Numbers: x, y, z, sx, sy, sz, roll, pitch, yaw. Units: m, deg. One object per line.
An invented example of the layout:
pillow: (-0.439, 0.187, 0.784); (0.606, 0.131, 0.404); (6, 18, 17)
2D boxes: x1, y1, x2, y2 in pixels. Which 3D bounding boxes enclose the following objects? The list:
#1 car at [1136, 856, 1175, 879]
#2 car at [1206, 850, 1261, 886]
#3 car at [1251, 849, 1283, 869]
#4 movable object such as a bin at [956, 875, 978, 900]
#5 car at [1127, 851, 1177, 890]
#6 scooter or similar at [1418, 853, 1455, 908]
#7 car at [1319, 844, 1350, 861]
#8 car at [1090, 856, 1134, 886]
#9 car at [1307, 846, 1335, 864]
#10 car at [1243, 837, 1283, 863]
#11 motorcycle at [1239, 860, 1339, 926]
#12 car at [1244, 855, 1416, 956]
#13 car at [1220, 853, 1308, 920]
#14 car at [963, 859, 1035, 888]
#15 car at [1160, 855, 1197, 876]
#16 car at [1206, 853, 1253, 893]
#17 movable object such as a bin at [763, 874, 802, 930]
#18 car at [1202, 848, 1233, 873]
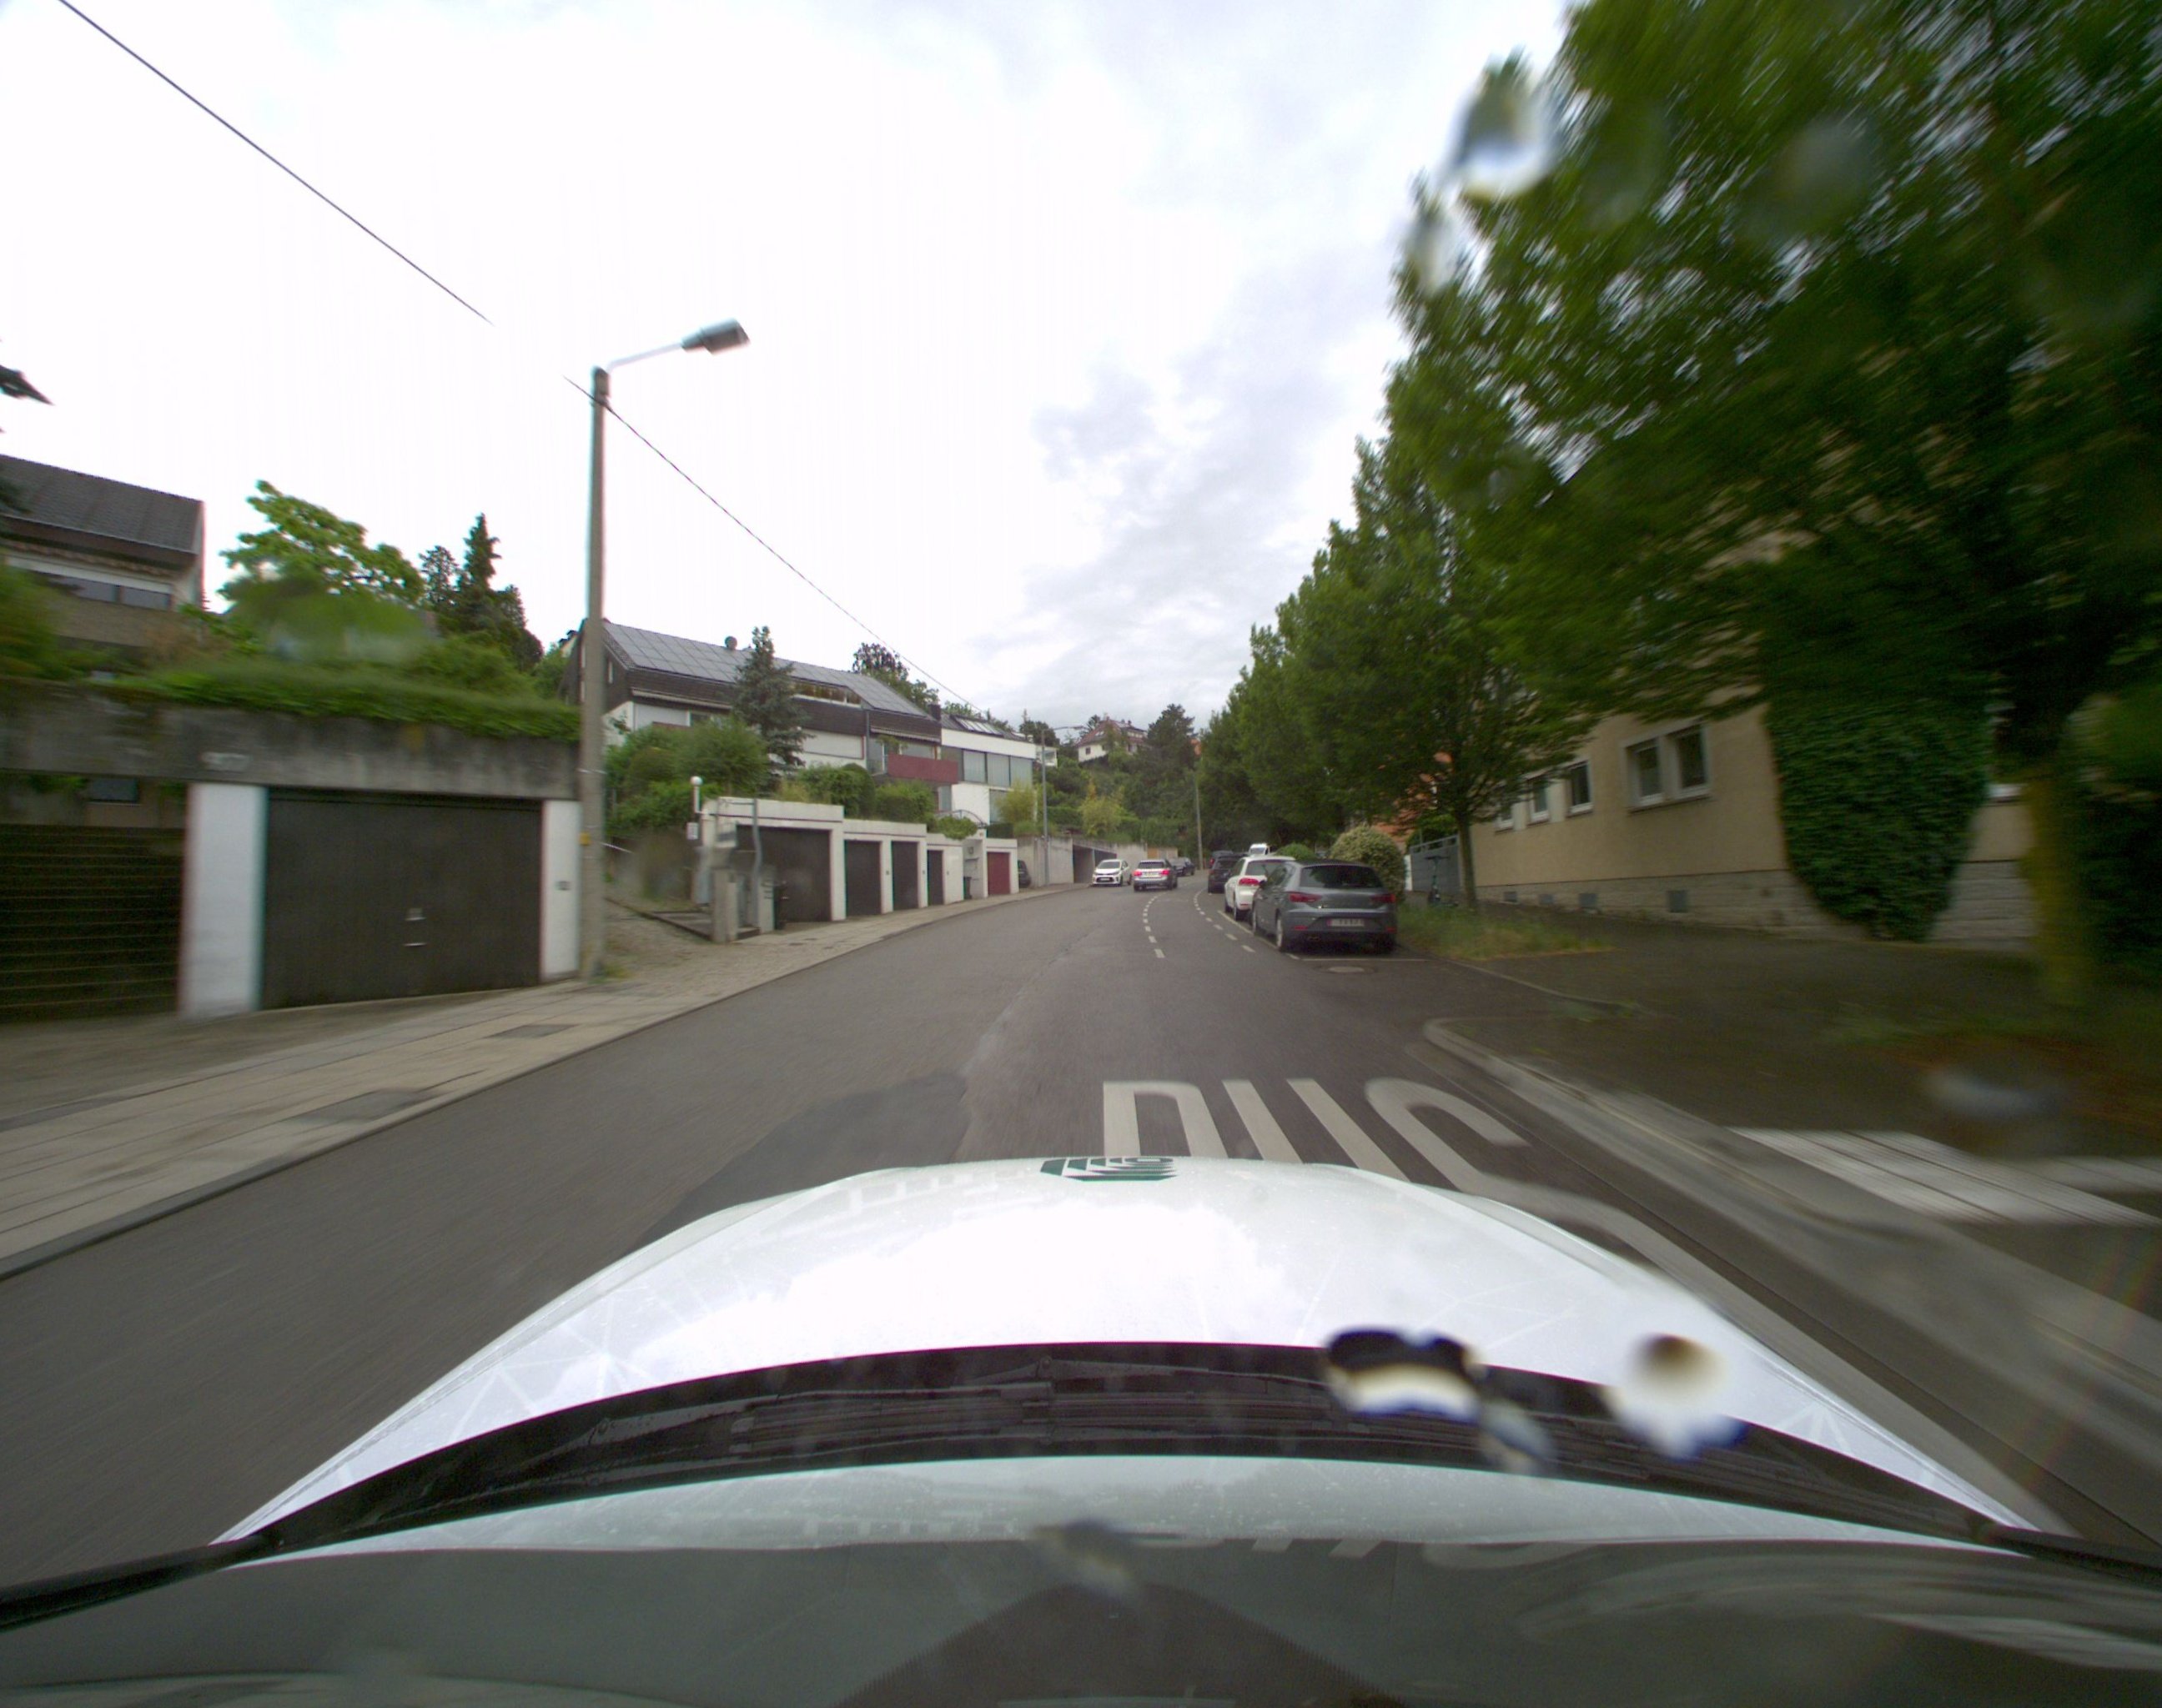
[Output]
car: (5.303, 0.924, 57.618); (1.817, 1.440, 4.059); (-3, -1, 19)
car: (7.860, 0.659, 41.657); (2.037, 1.656, 5.260); (-2, 0, 18)
car: (16.807, 0.451, 73.605); (1.975, 1.708, 4.023); (-2, 0, 25)
movable object such as a bin: (-4.578, 1.324, 32.714); (0.537, 0.963, 0.650); (-1, 0, 41)
car: (3.443, 0.759, 38.739); (2.013, 1.708, 4.227); (-1, 0, 10)
scooter or similar: (8.400, 0.604, 19.269); (0.411, 1.245, 1.177); (-2, 0, 5)
car: (25.238, -0.174, 81.006); (1.759, 1.553, 4.758); (-1, 1, 31)
car: (1.797, 0.948, 46.022); (1.615, 1.516, 3.848); (-2, 0, 16)
car: (21.926, 0.075, 74.412); (1.638, 1.519, 4.024); (-1, 0, 28)
car: (19.594, -0.454, 87.346); (2.074, 2.550, 6.136); (-3, 0, 33)
motorcycle: (4.388, 0.811, 17.278); (1.907, 1.330, 0.787); (0, 0, -1)
car: (4.049, 0.754, 14.027); (1.870, 1.416, 4.473); (-1, 0, 4)
car: (4.428, 0.731, 20.215); (1.648, 1.489, 4.006); (0, 0, 6)
car: (-4.513, 1.019, 44.462); (3.882, 1.478, 1.778); (0, 1, 43)
car: (7.684, 0.883, 63.812); (1.698, 1.459, 4.707); (-2, -1, 21)
car: (6.508, 0.778, 35.791); (1.843, 1.581, 4.871); (-2, 0, 10)
movable object such as a bin: (-6.316, 1.002, 17.245); (0.604, 1.146, 0.522); (1, -2, -45)
car: (10.080, 0.462, 60.024); (1.980, 1.708, 4.013); (-2, 0, 12)
